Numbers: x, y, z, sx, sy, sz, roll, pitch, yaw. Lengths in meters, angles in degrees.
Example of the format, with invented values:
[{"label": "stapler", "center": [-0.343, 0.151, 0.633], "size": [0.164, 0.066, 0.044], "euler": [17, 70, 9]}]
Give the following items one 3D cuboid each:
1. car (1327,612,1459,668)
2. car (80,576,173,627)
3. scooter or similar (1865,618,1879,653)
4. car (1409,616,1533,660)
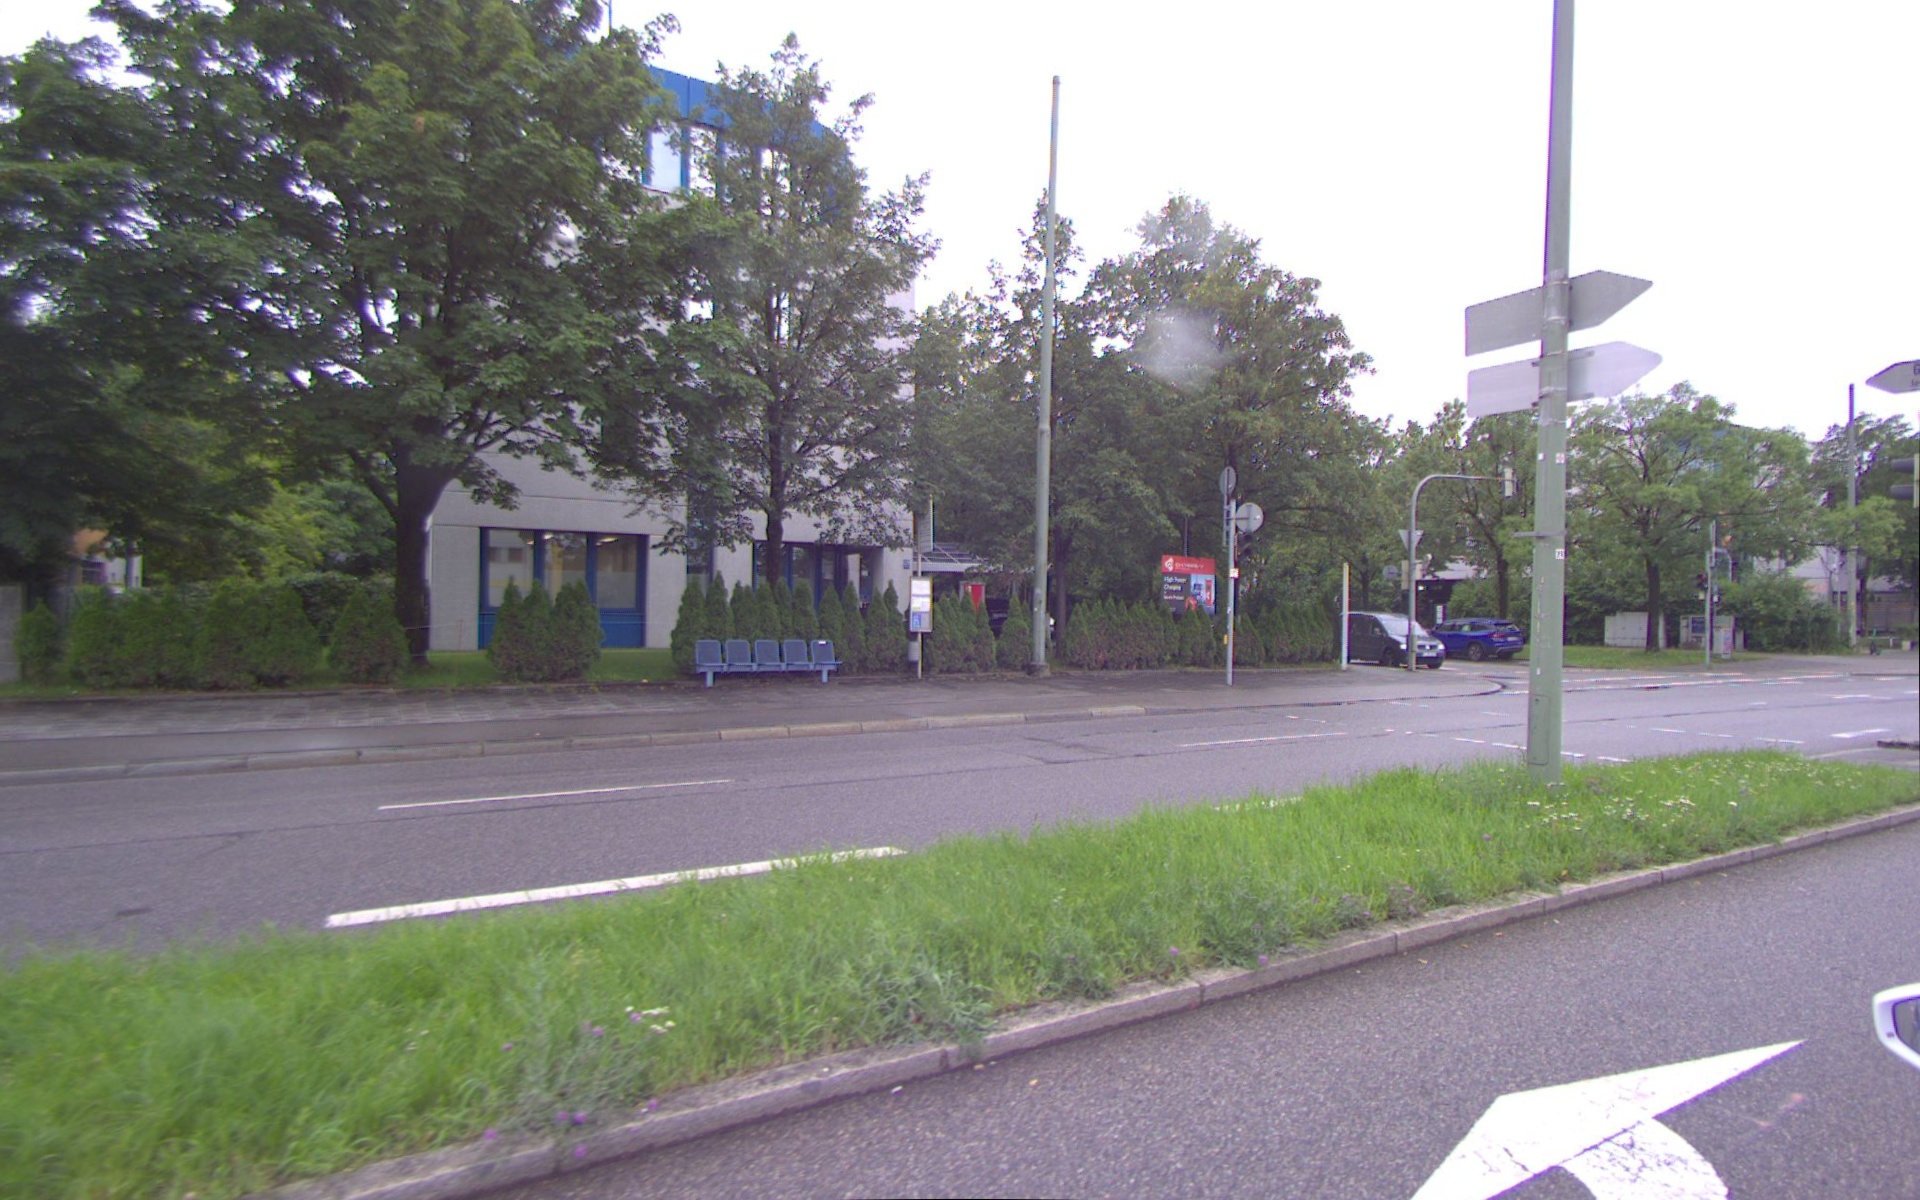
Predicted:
[{"label": "car", "center": [14.627, 1.338, 34.277], "size": [1.963, 1.745, 4.785], "euler": [1, -1, -8]}, {"label": "car", "center": [-26.259, 0.027, 31.750], "size": [1.748, 1.504, 3.859], "euler": [1, 0, -32]}, {"label": "scooter or similar", "center": [38.878, 1.506, 42.806], "size": [0.366, 1.443, 1.397], "euler": [2, 1, 44]}, {"label": "car", "center": [20.630, 1.496, 40.772], "size": [1.970, 1.595, 4.262], "euler": [-1, 0, -21]}]
